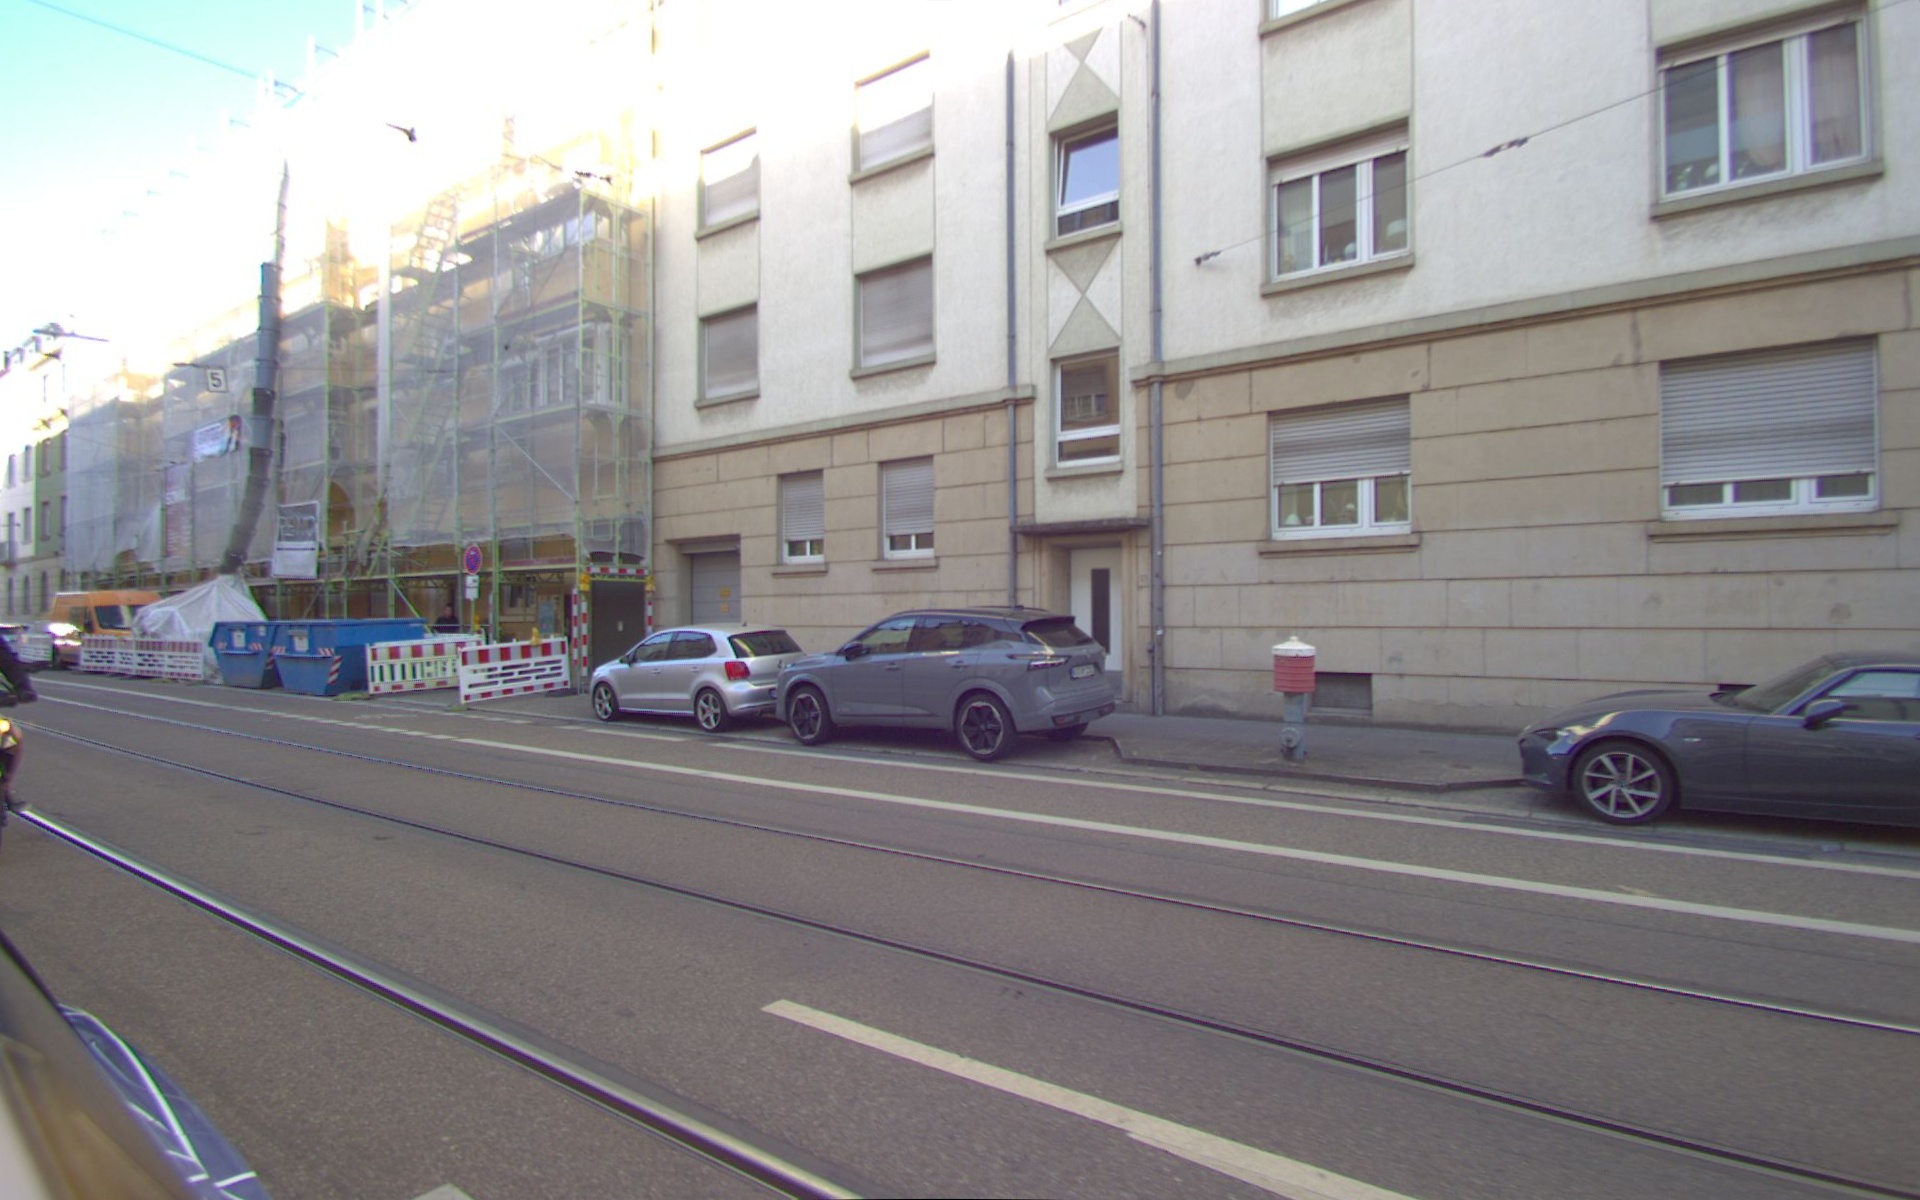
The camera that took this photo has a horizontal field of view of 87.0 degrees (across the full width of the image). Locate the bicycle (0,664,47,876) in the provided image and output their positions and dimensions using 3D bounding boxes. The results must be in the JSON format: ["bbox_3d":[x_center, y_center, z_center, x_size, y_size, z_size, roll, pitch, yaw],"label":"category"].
[{"bbox_3d":[-6.483,1.048,6.559,0.729,1.186,1.977,1,-2,-40],"label":"bicycle"}]

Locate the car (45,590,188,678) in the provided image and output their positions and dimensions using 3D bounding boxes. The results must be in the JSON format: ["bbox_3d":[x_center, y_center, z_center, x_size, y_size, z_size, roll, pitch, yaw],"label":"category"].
[{"bbox_3d":[-25.959,1.033,31.067,5.991,2.488,2.100,-1,-2,38],"label":"car"}]

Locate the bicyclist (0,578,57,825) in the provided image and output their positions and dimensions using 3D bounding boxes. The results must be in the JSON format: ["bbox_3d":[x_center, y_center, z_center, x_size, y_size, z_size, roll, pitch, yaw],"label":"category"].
[{"bbox_3d":[-6.518,0.651,6.645,0.831,1.566,0.851,1,-2,-40],"label":"bicyclist"}]

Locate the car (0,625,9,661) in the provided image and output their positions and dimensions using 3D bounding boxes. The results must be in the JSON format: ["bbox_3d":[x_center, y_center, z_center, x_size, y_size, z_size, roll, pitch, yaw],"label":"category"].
[{"bbox_3d":[-44.688,1.988,45.768,4.215,1.590,1.683,-1,0,36],"label":"car"}]

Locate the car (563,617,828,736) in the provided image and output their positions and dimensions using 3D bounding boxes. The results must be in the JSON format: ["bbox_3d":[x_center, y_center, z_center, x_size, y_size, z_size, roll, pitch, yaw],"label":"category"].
[{"bbox_3d":[-3.986,1.020,14.987,3.994,1.426,1.684,0,2,38],"label":"car"}]

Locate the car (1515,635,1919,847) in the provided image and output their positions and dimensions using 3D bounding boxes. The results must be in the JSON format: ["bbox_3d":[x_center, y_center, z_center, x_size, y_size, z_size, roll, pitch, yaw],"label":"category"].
[{"bbox_3d":[6.211,0.922,7.213,3.778,1.225,1.684,-1,1,36],"label":"car"}]

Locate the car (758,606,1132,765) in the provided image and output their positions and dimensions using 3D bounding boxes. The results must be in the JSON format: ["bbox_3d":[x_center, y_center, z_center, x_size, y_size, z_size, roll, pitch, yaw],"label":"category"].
[{"bbox_3d":[-0.312,0.900,12.123,4.399,1.580,1.683,-1,-1,38],"label":"car"}]

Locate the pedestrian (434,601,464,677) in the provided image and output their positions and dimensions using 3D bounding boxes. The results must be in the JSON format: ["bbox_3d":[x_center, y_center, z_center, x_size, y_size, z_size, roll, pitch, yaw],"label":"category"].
[{"bbox_3d":[-11.734,0.880,23.254,0.572,1.707,0.719,-1,0,-25],"label":"pedestrian"}]

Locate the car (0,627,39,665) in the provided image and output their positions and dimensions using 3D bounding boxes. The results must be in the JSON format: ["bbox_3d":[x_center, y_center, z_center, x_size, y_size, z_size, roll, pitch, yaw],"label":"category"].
[{"bbox_3d":[-39.969,1.896,42.127,3.994,1.523,1.730,-1,-2,38],"label":"car"}]
